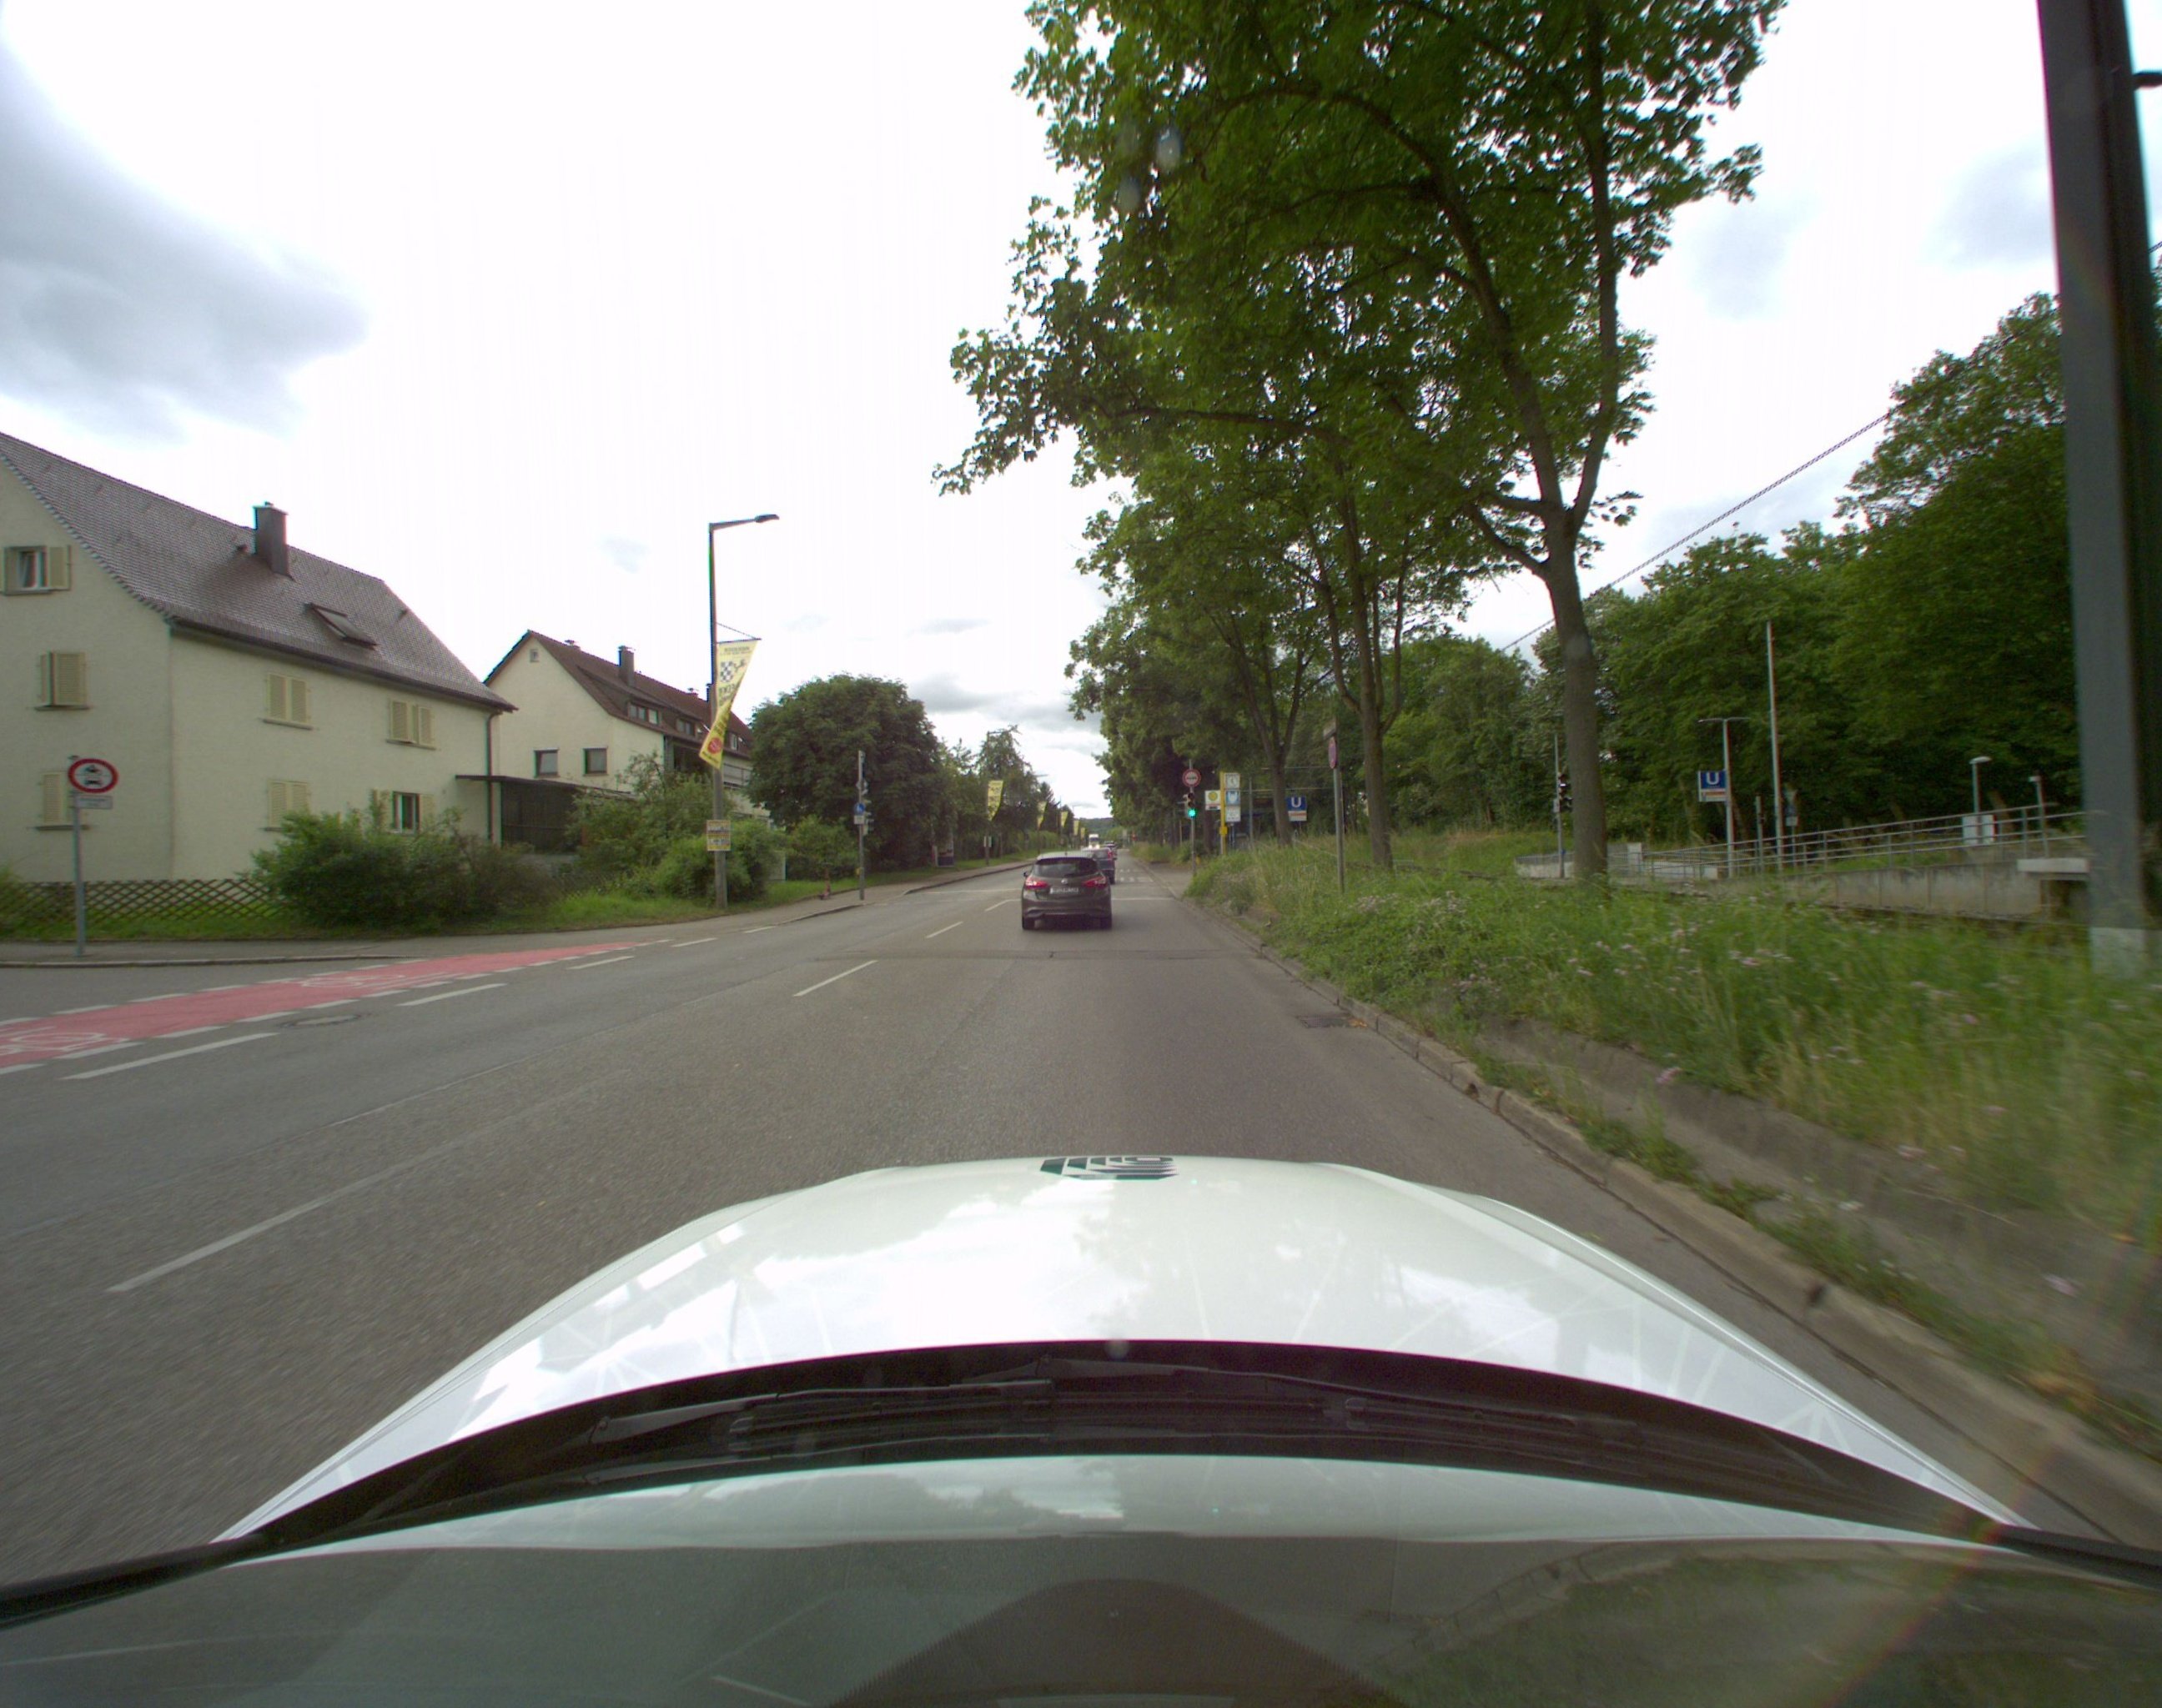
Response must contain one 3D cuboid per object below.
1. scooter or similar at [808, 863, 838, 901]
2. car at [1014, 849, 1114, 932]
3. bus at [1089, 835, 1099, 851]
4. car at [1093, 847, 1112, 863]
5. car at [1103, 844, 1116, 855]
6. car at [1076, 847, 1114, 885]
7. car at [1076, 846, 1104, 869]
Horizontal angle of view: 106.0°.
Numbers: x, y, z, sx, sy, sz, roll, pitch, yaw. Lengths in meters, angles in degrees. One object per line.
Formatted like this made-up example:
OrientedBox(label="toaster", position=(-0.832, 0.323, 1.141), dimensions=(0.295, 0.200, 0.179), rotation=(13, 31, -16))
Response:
OrientedBox(label="scooter or similar", position=(-8.983, 0.962, 28.404), dimensions=(0.460, 1.259, 1.427), rotation=(-1, 0, 4))
OrientedBox(label="car", position=(-0.243, 0.682, 17.033), dimensions=(1.776, 1.507, 3.698), rotation=(-2, 0, 3))
OrientedBox(label="bus", position=(3.480, -2.914, 214.725), dimensions=(2.477, 4.025, 10.223), rotation=(-1, 0, 2))
OrientedBox(label="car", position=(2.028, 0.110, 75.851), dimensions=(1.685, 1.441, 3.543), rotation=(-1, 0, 2))
OrientedBox(label="car", position=(3.723, -0.568, 105.336), dimensions=(1.685, 1.441, 3.543), rotation=(-1, 0, 2))
OrientedBox(label="car", position=(0.622, 0.473, 33.824), dimensions=(1.496, 1.441, 3.543), rotation=(-1, 0, 2))
OrientedBox(label="car", position=(0.592, 0.203, 52.937), dimensions=(1.685, 1.441, 3.543), rotation=(-1, 0, 2))
